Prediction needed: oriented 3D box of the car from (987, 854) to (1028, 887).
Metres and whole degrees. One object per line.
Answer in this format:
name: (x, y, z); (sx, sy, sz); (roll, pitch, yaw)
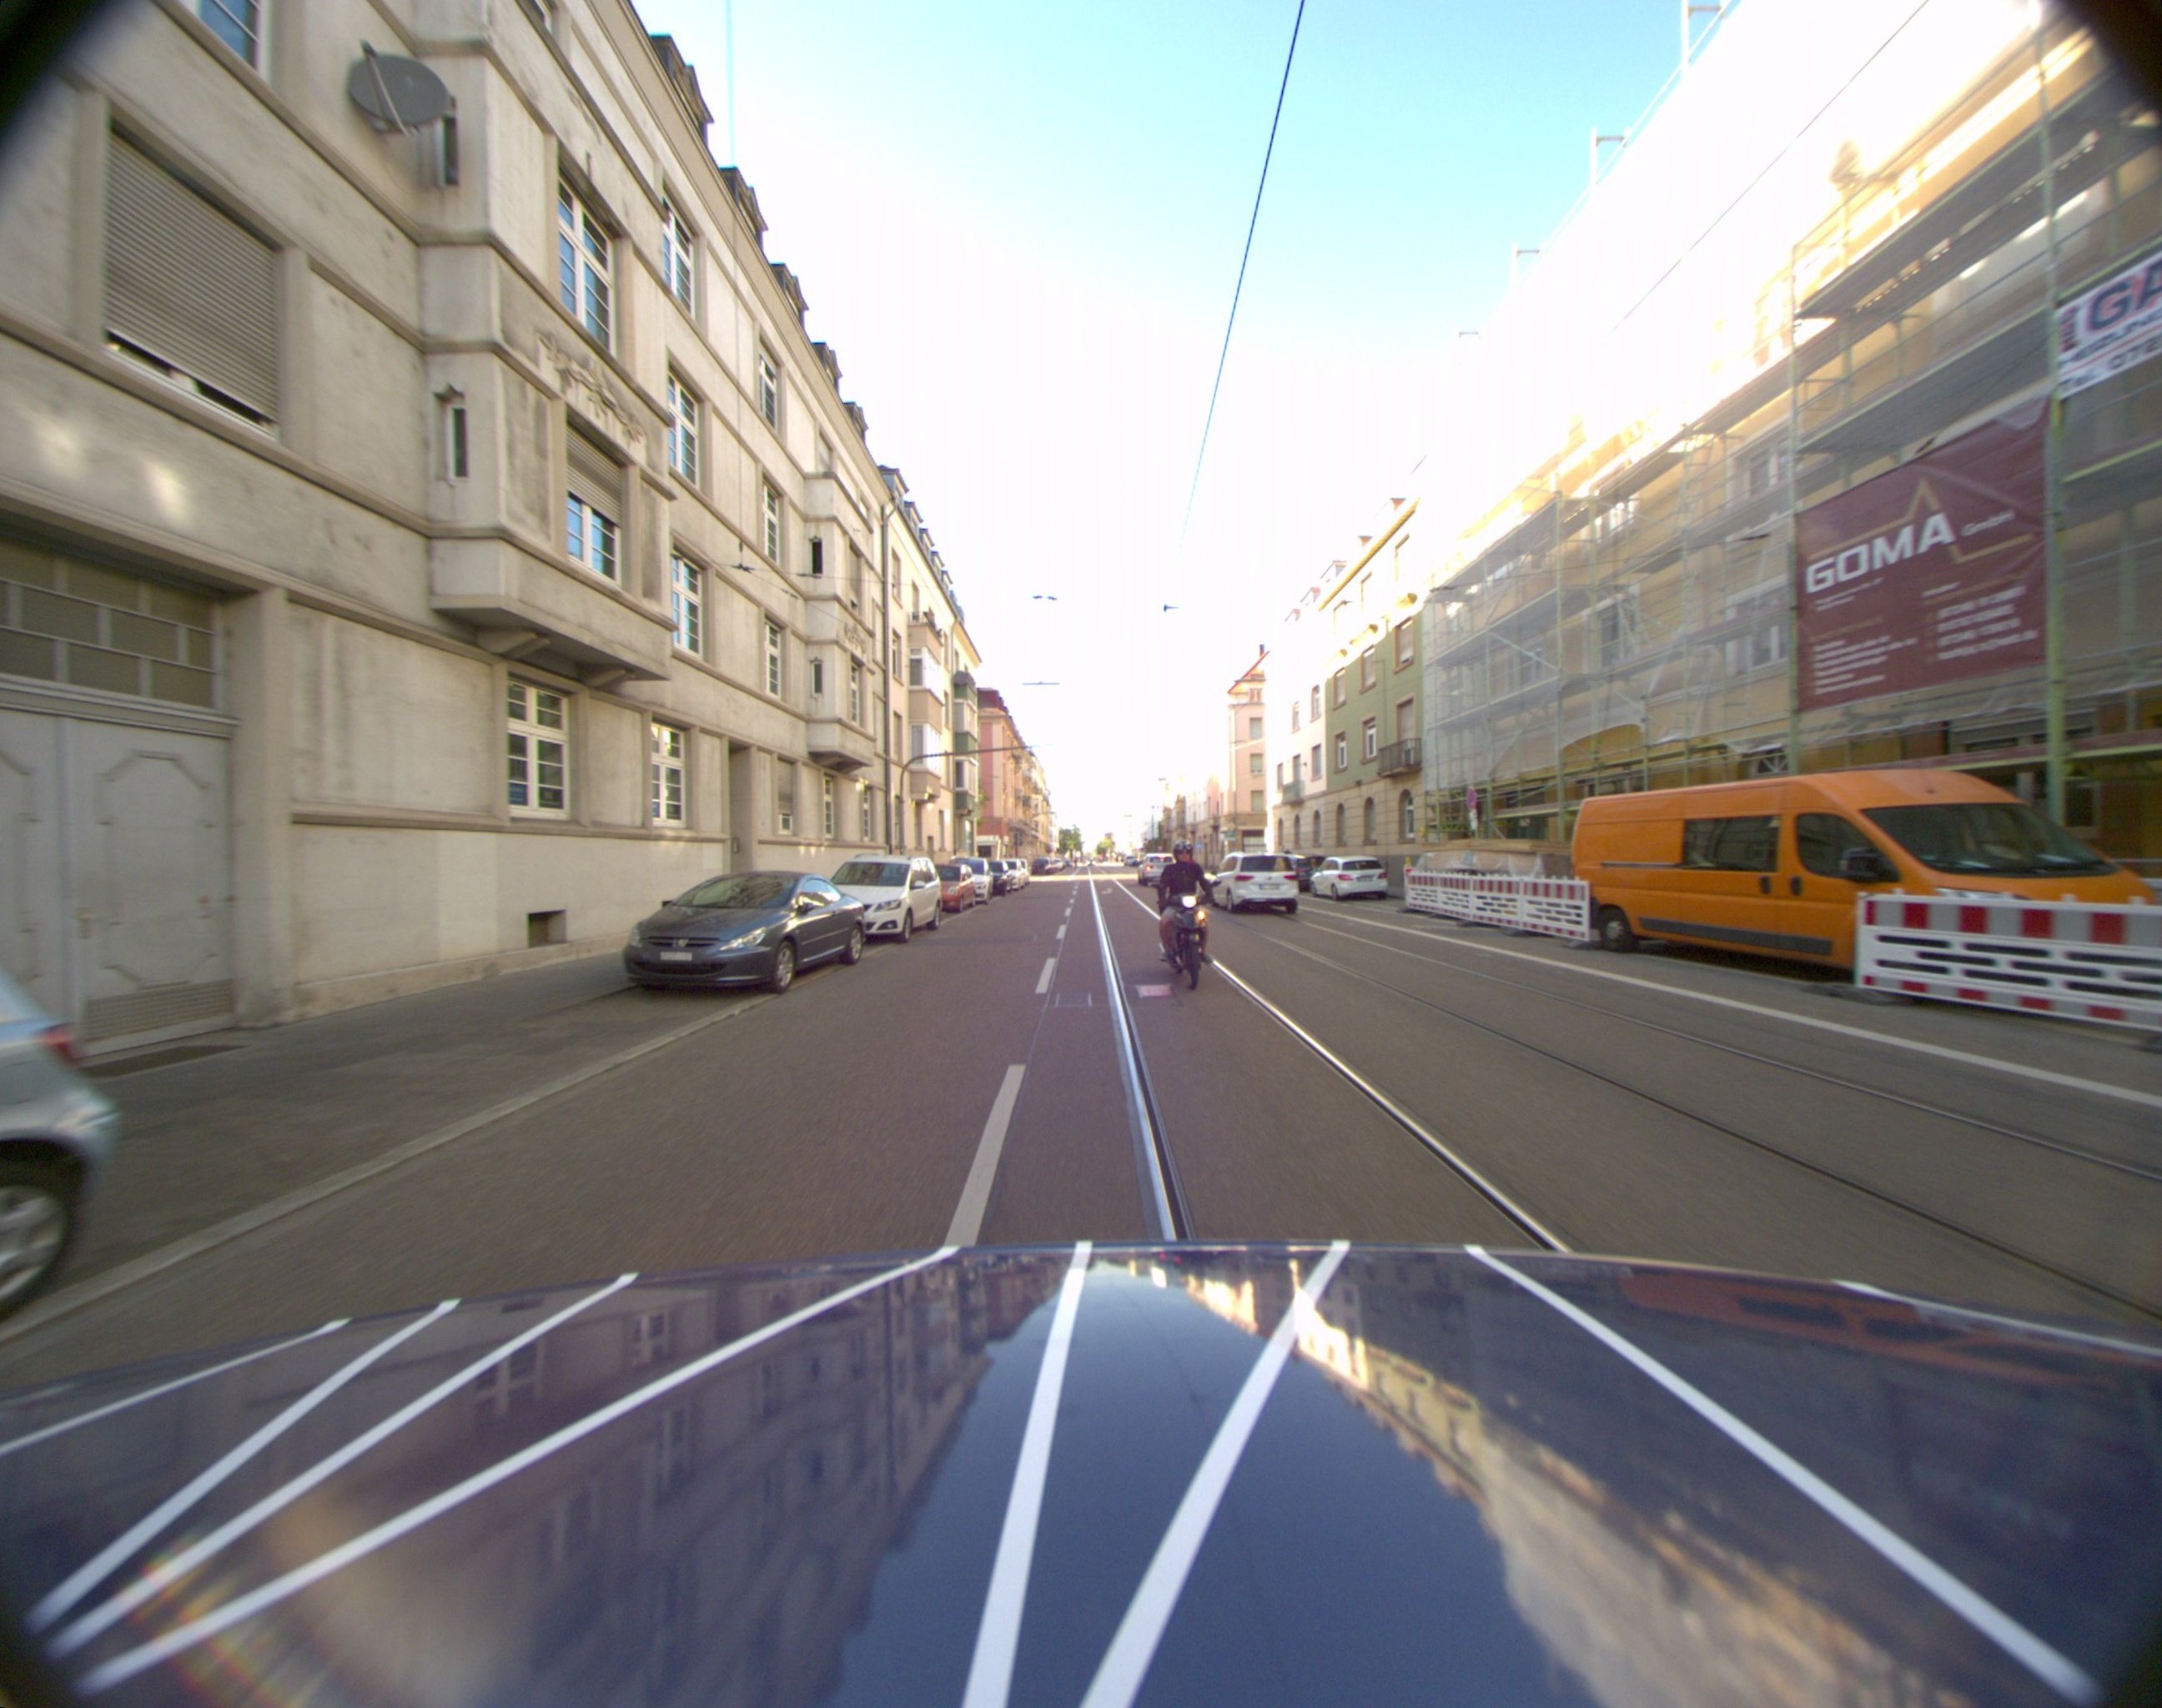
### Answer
car: (-3.747, 0.799, 39.297); (1.703, 1.581, 3.961); (-1, 0, 1)

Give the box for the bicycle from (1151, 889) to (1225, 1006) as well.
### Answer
bicycle: (1.251, 1.067, 9.244); (0.740, 1.170, 1.974); (-1, 0, 4)

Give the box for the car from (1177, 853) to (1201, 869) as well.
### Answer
car: (10.654, 0.695, 75.028); (1.798, 1.494, 3.769); (-3, 0, 0)

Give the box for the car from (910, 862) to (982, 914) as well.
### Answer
car: (-4.230, 1.031, 24.229); (1.570, 1.475, 3.365); (1, 0, 2)

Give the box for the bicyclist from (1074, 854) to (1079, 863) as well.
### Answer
bicyclist: (-0.659, 0.685, 118.747); (0.744, 1.481, 0.816); (-1, 1, 0)

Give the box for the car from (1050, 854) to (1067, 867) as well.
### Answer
car: (-2.892, 0.864, 99.912); (1.998, 1.630, 4.000); (0, 0, 1)

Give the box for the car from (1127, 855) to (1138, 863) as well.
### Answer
car: (10.013, 0.963, 148.090); (1.798, 1.494, 3.769); (-3, 0, 0)

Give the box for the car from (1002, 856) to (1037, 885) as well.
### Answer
car: (-3.628, 0.956, 45.454); (1.703, 1.581, 3.355); (1, 0, 2)

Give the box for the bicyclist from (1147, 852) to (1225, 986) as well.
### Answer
bicyclist: (1.254, 0.750, 9.209); (0.843, 1.545, 0.850); (-1, 1, 3)

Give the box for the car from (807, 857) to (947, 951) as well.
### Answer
car: (-4.125, 0.920, 16.169); (1.713, 1.683, 4.589); (0, 0, 0)

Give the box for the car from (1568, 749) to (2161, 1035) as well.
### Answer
car: (9.053, 0.322, 9.531); (2.125, 2.455, 6.000); (0, 0, 1)

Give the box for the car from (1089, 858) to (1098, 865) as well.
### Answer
car: (2.777, 1.731, 171.242); (1.998, 1.586, 4.000); (-1, 0, 1)

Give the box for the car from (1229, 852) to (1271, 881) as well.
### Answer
car: (9.799, 0.698, 44.352); (1.798, 1.601, 3.770); (-1, 0, 3)

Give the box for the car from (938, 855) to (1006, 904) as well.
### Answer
car: (-4.000, 0.873, 28.512); (1.702, 1.688, 4.188); (0, 0, 3)

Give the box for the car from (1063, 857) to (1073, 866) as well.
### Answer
car: (-2.614, 1.518, 157.425); (1.998, 1.674, 4.000); (-1, 0, 1)

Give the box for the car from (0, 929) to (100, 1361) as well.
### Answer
car: (-4.548, 1.011, 1.134); (1.612, 1.454, 3.480); (0, 0, 1)

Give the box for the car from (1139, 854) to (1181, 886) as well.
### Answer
car: (4.100, 0.786, 40.195); (1.771, 1.598, 4.293); (0, 0, 0)

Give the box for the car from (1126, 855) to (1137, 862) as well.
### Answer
car: (10.159, 0.903, 153.783); (1.798, 1.494, 3.769); (-3, 0, 0)

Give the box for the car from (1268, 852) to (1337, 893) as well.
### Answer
car: (9.637, 0.756, 33.389); (1.702, 1.569, 4.222); (-3, 0, 0)

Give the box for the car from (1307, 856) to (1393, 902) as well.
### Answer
car: (9.592, 0.832, 27.384); (1.751, 1.502, 4.000); (0, 0, 1)

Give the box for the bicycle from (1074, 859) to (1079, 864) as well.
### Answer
bicycle: (-0.670, 1.187, 118.639); (0.744, 0.850, 1.886); (-1, 0, 0)

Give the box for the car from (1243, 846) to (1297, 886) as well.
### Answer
car: (9.719, 0.588, 39.349); (1.798, 1.836, 3.769); (-3, 0, 0)

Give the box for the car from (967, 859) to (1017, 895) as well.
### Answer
car: (-3.943, 0.991, 34.181); (1.703, 1.496, 3.863); (-1, 0, 1)

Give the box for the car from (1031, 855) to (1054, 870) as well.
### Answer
car: (-3.700, 0.817, 74.226); (1.998, 1.412, 3.727); (0, 0, 1)

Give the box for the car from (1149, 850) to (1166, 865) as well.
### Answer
car: (10.580, 0.472, 105.439); (1.998, 2.002, 4.000); (0, 0, 0)

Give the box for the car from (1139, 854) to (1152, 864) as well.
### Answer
car: (10.483, 0.840, 123.960); (1.798, 1.494, 3.769); (-3, 0, 0)

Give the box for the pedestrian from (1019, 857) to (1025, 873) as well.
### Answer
pedestrian: (-5.445, 0.996, 70.000); (0.526, 1.483, 0.491); (0, 1, 1)

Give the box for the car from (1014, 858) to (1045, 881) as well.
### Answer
car: (-3.454, 1.031, 51.836); (1.703, 1.465, 3.780); (1, 0, 2)

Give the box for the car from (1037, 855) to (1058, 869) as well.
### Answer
car: (-3.452, 0.806, 79.277); (1.998, 1.455, 4.000); (0, 0, 1)

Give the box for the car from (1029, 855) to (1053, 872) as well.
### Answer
car: (-3.663, 0.854, 69.924); (1.998, 1.412, 3.727); (0, 0, 1)

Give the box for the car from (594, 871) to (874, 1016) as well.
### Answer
car: (-4.282, 1.000, 10.228); (1.703, 1.444, 4.206); (0, 0, 2)

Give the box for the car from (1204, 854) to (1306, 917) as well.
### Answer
car: (4.756, 0.806, 21.358); (1.825, 1.559, 4.200); (-1, 0, -1)
